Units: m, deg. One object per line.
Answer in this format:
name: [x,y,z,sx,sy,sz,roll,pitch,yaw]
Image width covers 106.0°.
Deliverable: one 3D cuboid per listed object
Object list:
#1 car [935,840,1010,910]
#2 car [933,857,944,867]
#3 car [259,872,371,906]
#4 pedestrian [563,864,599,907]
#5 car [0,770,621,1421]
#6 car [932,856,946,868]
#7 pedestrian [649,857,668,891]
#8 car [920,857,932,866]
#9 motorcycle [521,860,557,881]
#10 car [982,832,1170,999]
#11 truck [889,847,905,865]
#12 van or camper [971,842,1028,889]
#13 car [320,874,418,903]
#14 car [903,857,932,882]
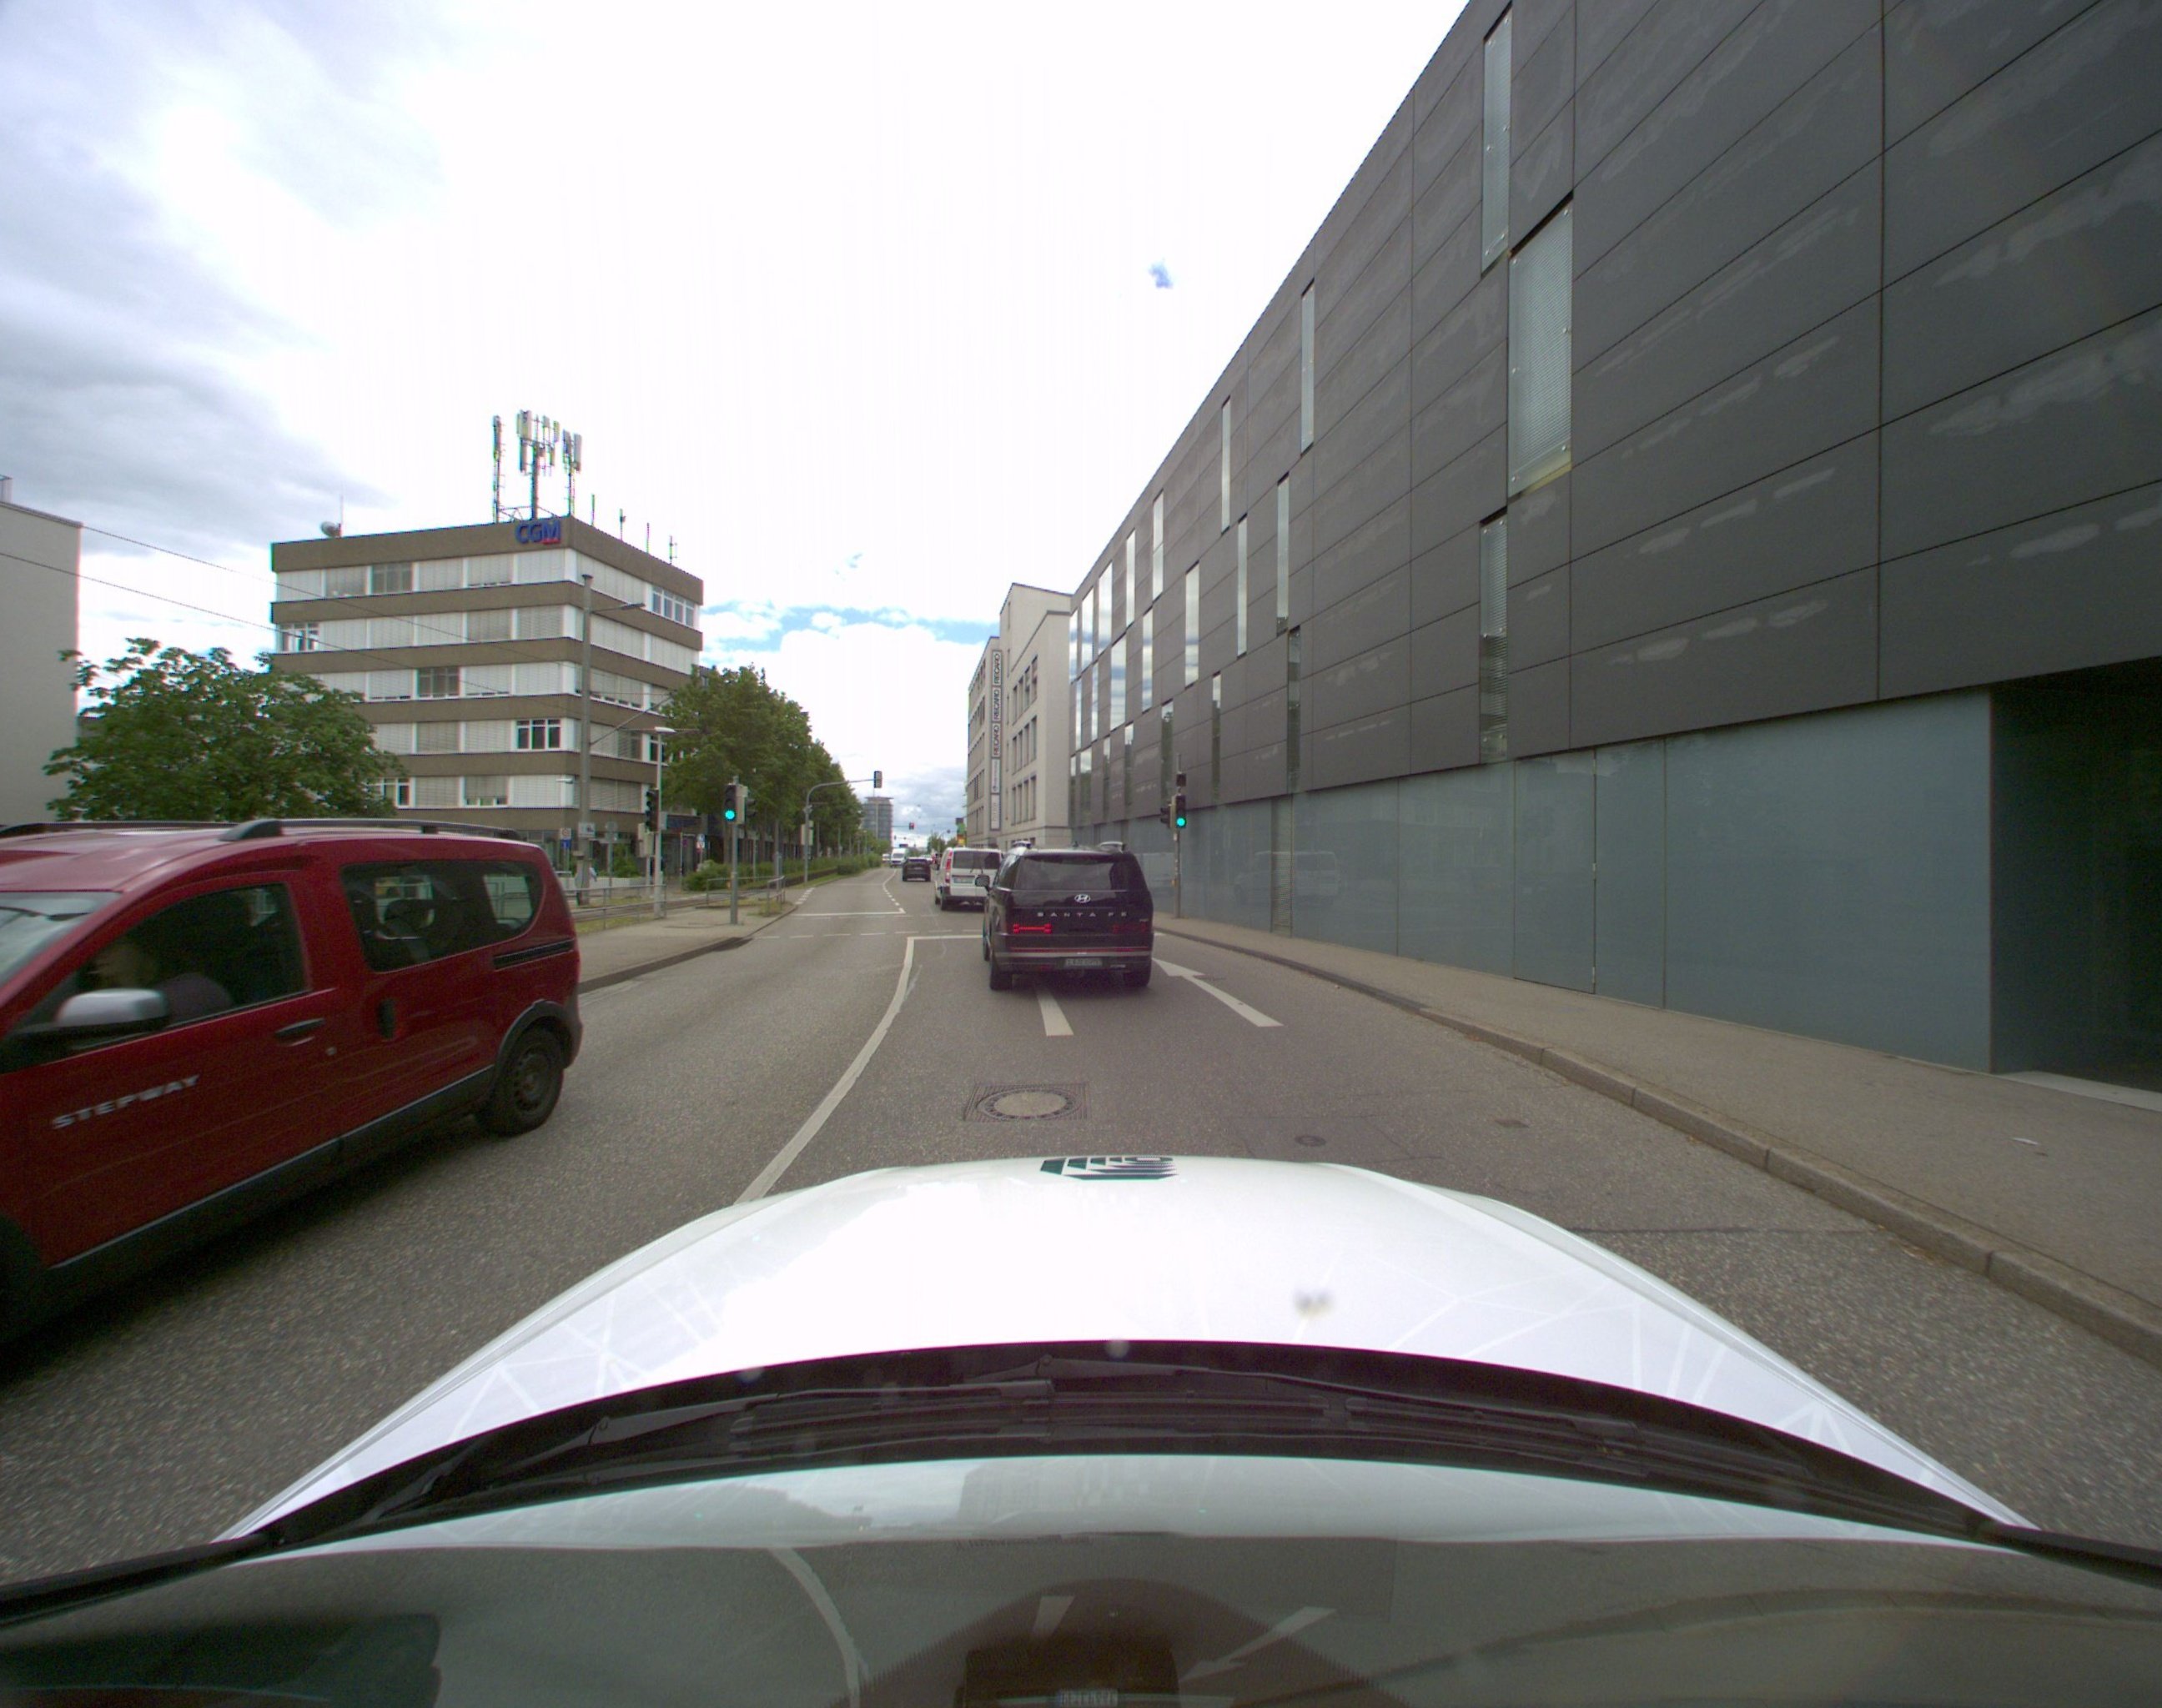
car: [-3.501,0.608,25.497,1.934,1.994,4.515,0,0,-13]
car: [-22.896,1.235,130.998,1.759,1.609,4.174,0,0,-9]
car: [-33.706,1.536,35.855,3.958,1.359,1.648,-2,-1,14]
pedestrian: [-18.513,1.142,30.163,0.849,1.526,0.991,-1,0,-14]
car: [-3.941,0.699,3.478,1.677,1.808,4.345,-2,0,-4]
car: [-19.680,1.100,113.012,1.759,1.609,4.174,0,0,-9]
pedestrian: [-21.806,1.031,42.067,0.688,1.705,0.680,-1,0,-11]
car: [-32.356,1.613,170.217,1.675,1.882,3.968,0,0,-24]
motorcycle: [-31.224,0.931,46.927,1.866,1.199,0.570,0,-1,11]
car: [-0.298,0.653,10.881,1.908,1.749,4.383,0,0,-9]
truck: [-26.122,0.280,115.578,2.168,2.615,5.769,0,0,-13]
van or camper: [-3.654,0.475,35.854,1.995,1.915,4.313,1,0,-12]
car: [-40.362,1.916,46.324,1.715,1.425,4.009,-2,-1,8]
car: [-11.189,1.021,56.009,1.759,1.609,4.175,0,0,-9]
